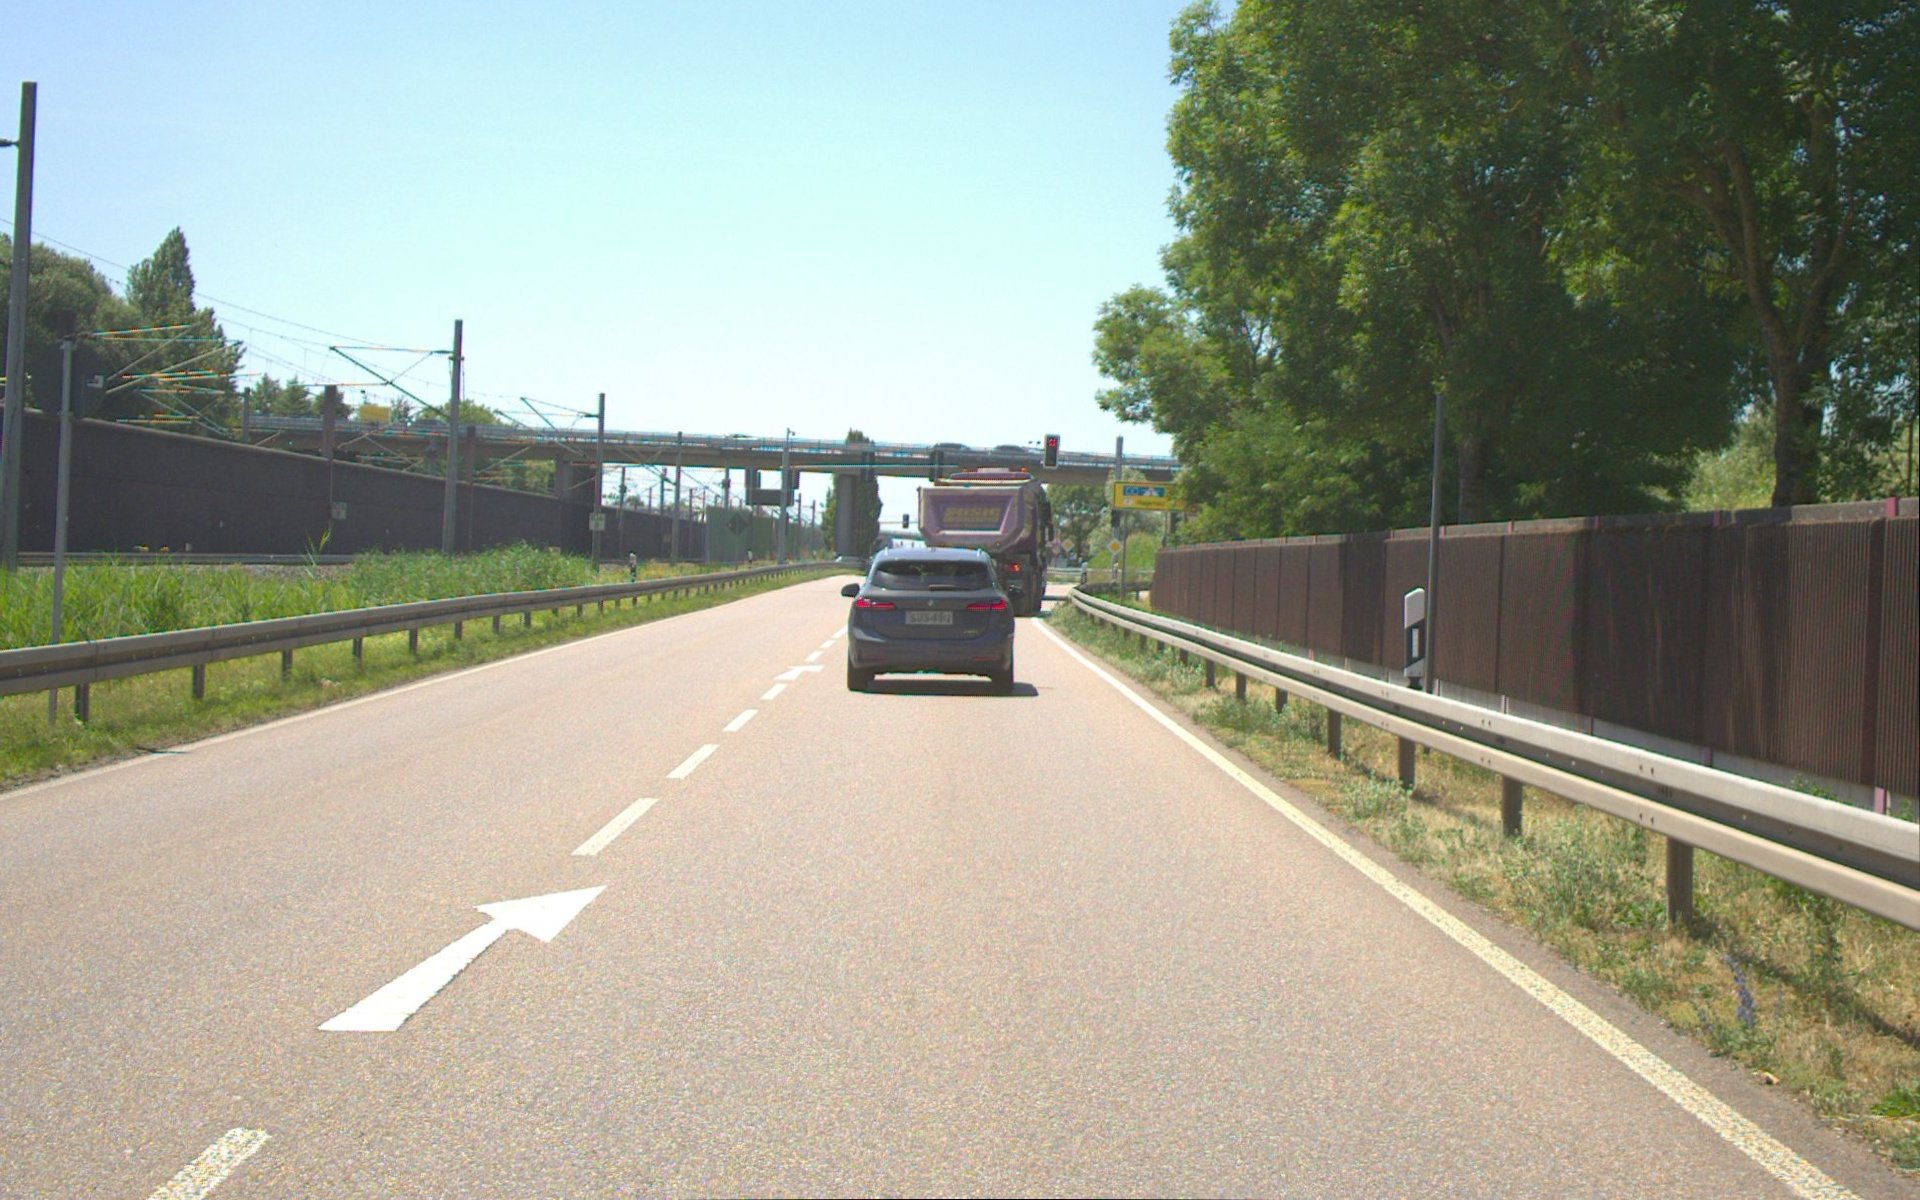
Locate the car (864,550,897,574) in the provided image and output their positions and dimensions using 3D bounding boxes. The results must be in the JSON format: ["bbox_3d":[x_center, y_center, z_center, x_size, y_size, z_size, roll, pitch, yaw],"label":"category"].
[{"bbox_3d":[-5.010,-2.415,217.307,1.864,1.480,4.888,1,1,-3],"label":"car"}]

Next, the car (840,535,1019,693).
[{"bbox_3d":[-0.295,0.118,38.299,1.845,1.617,4.226,1,1,1],"label":"car"}]

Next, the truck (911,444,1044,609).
[{"bbox_3d":[0.557,-1.806,87.018,2.833,3.808,11.884,2,1,2],"label":"truck"}]
